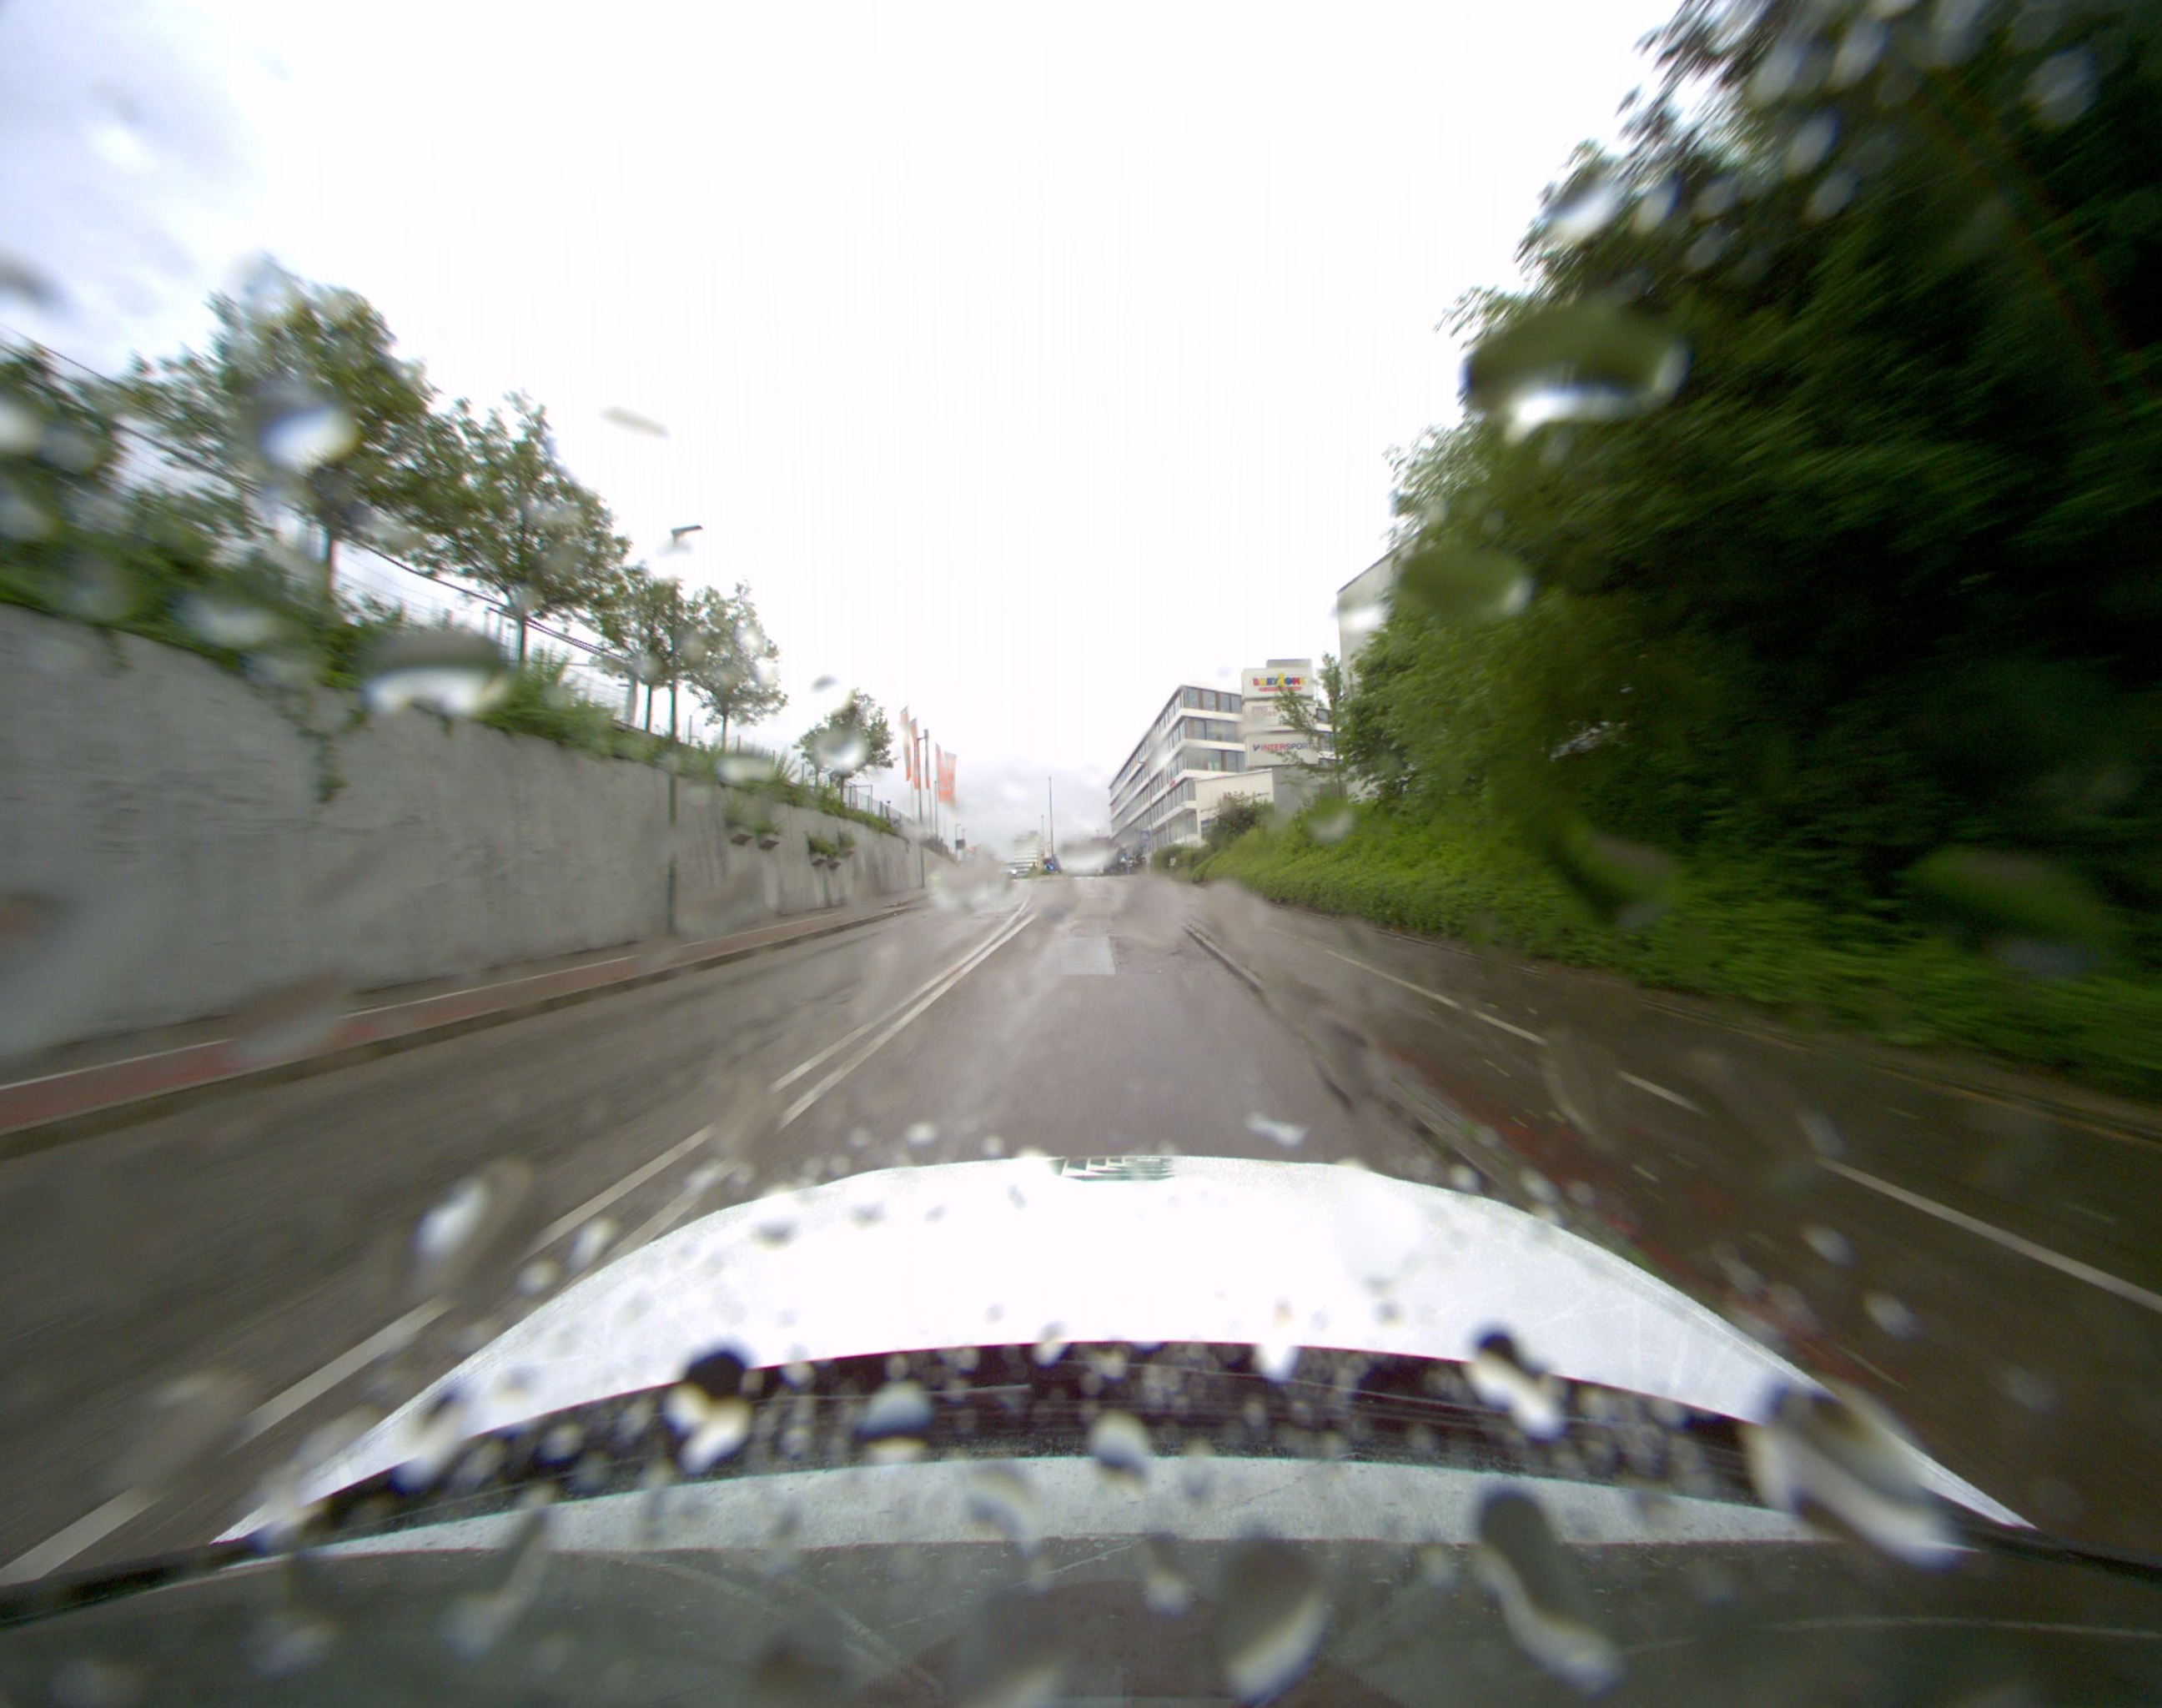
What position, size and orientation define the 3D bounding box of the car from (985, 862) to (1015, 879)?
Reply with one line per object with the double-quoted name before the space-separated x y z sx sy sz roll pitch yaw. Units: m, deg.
"car" -7.309 1.480 72.994 2.004 1.426 4.756 0 -1 -15
